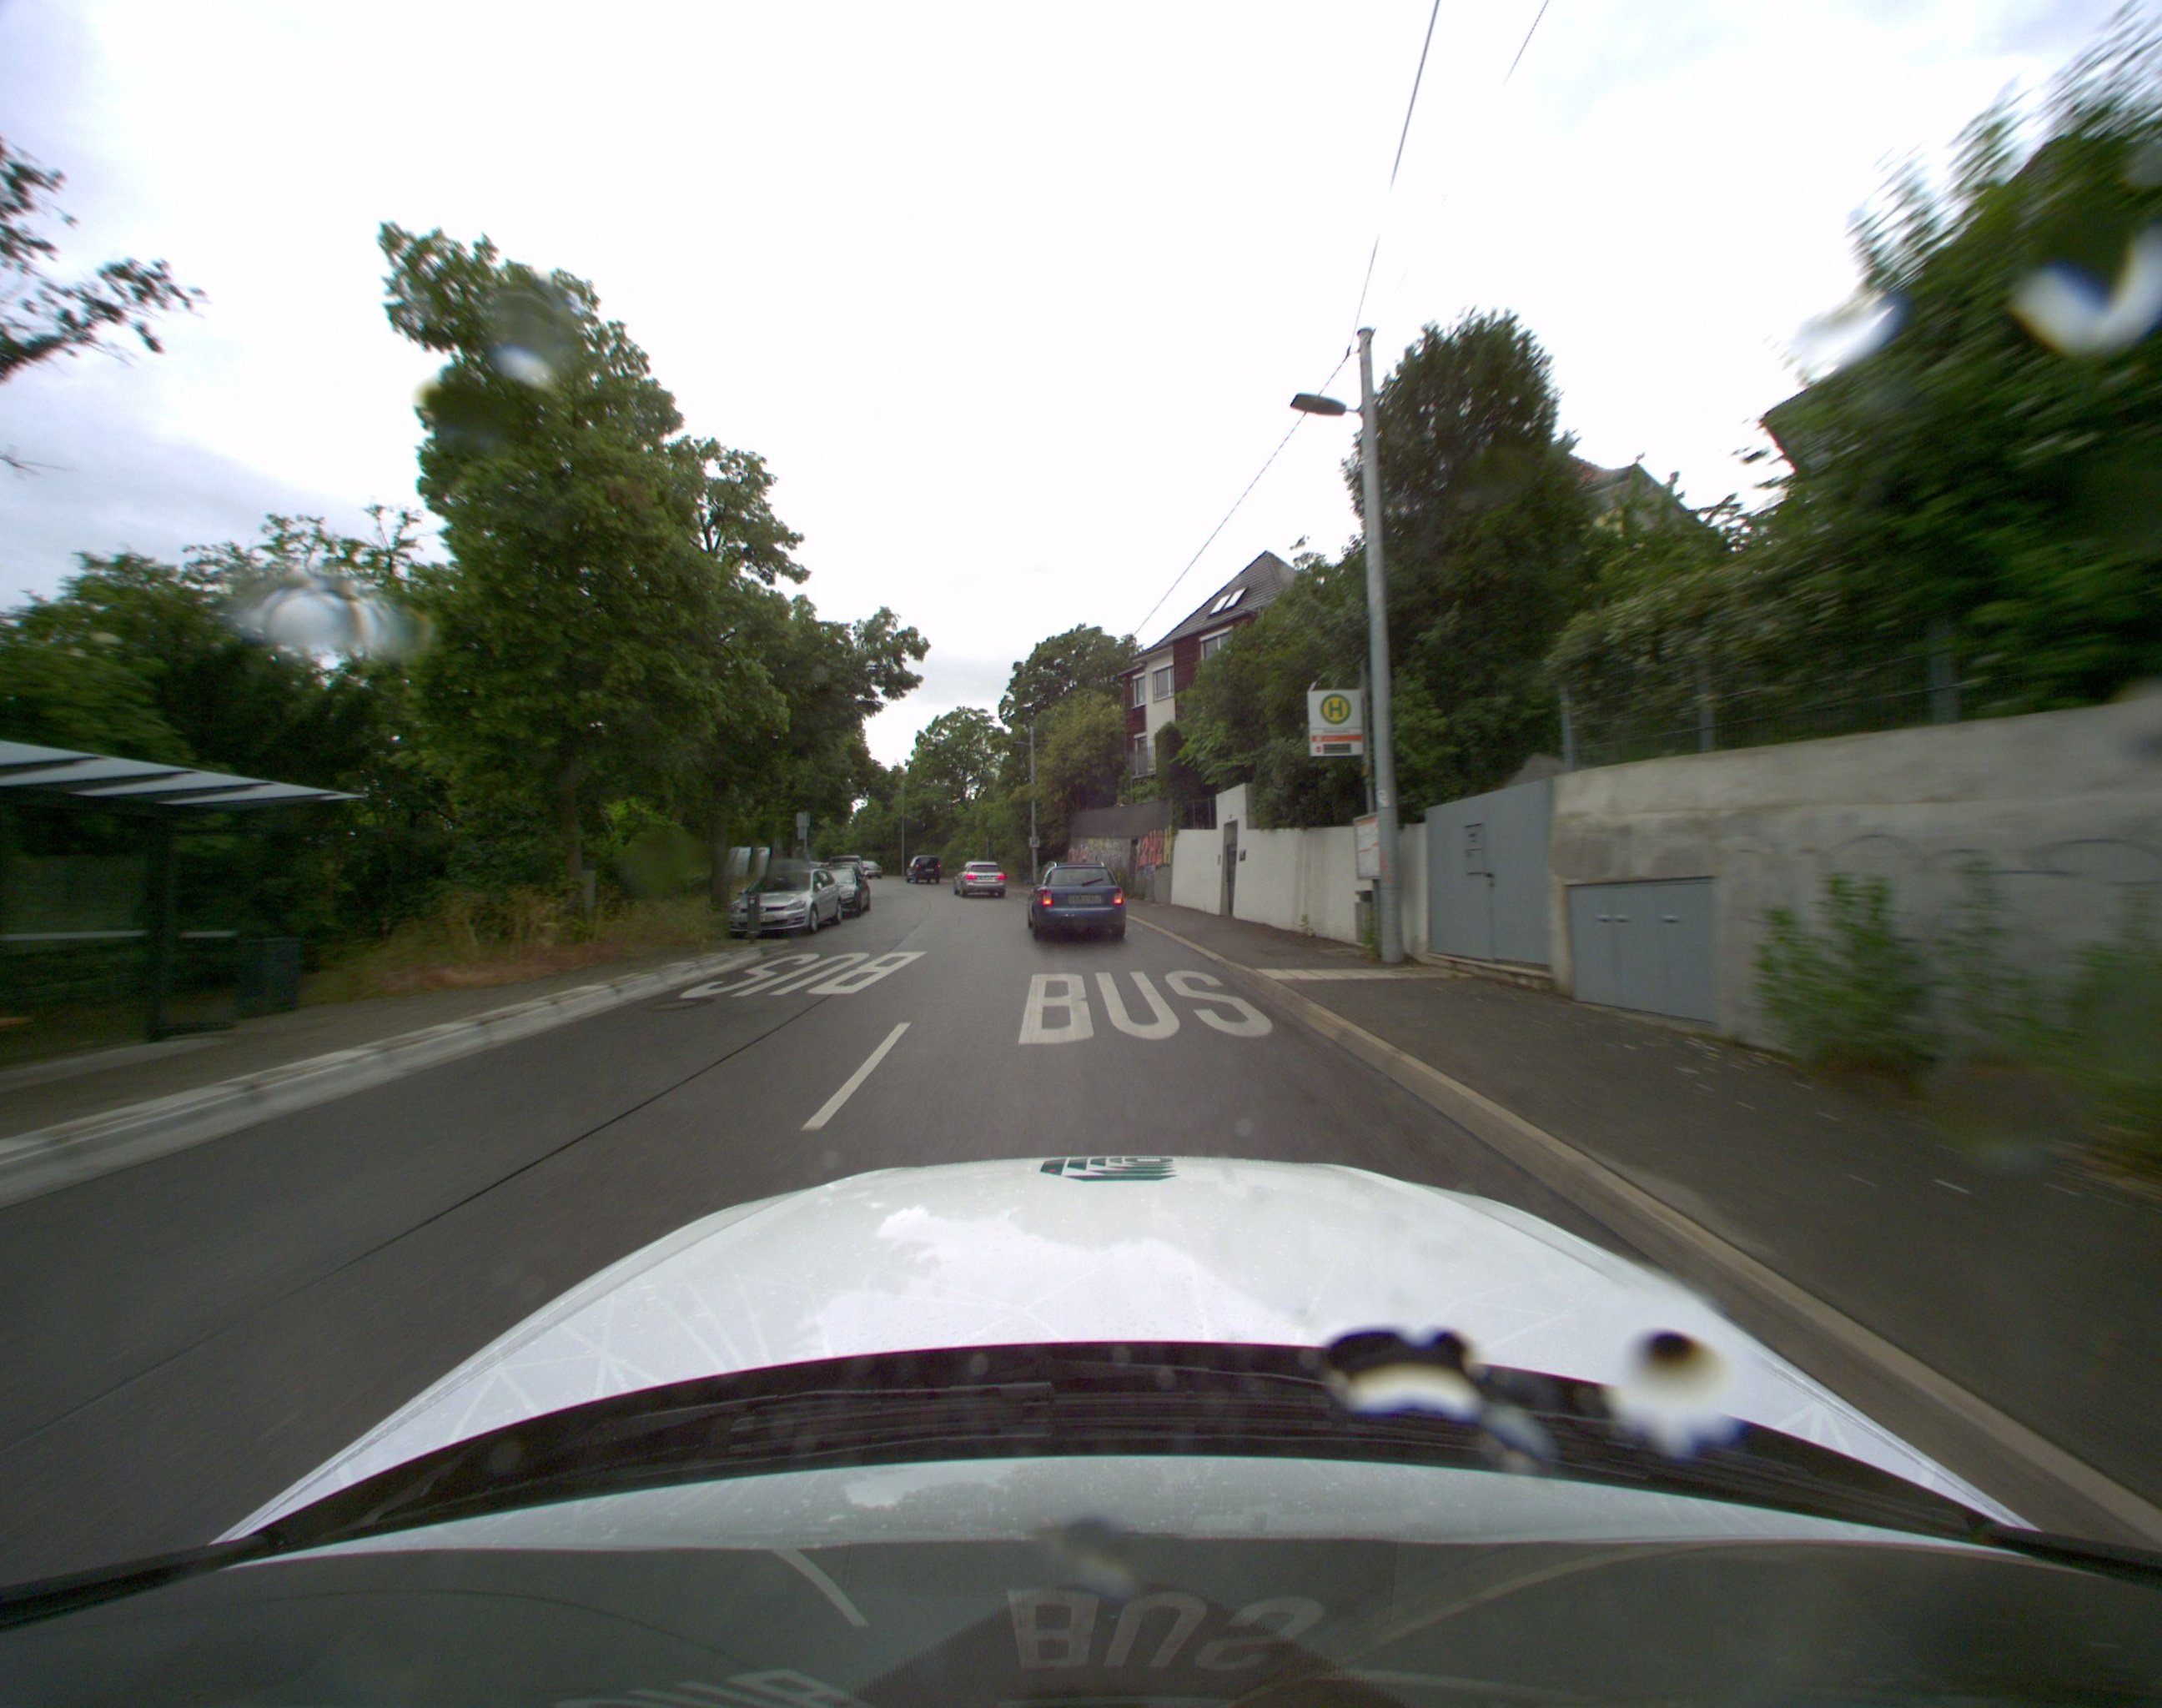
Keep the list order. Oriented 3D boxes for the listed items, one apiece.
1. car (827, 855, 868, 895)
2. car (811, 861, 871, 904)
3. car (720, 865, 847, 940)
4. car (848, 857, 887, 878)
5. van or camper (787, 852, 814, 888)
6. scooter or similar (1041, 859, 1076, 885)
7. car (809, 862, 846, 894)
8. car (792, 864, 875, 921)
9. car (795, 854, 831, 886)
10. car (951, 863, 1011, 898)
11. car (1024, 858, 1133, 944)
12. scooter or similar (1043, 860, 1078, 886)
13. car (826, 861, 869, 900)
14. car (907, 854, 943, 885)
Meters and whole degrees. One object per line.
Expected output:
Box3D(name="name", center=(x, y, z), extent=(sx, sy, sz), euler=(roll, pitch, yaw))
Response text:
Box3D(name="car", center=(-11.838, 1.032, 41.269), extent=(1.841, 1.843, 3.880), euler=(-3, 0, -16))
Box3D(name="car", center=(-9.056, 1.043, 31.029), extent=(1.674, 1.426, 3.986), euler=(-3, 0, -10))
Box3D(name="car", center=(-6.763, 1.041, 18.967), extent=(1.671, 1.426, 3.994), euler=(-3, 0, -4))
Box3D(name="car", center=(-17.275, 1.093, 65.887), extent=(1.779, 1.570, 3.987), euler=(-3, 0, -34))
Box3D(name="van or camper", center=(-22.488, 1.286, 65.114), extent=(1.786, 2.651, 3.961), euler=(-3, 0, -21))
Box3D(name="scooter or similar", center=(-1.231, 0.990, 43.944), extent=(1.831, 1.315, 0.599), euler=(3, -4, -5))
Box3D(name="car", center=(-15.578, 1.454, 49.936), extent=(2.000, 1.728, 3.974), euler=(-4, 0, -19))
Box3D(name="car", center=(-7.228, 1.059, 24.108), extent=(1.673, 1.426, 3.988), euler=(-3, 0, -8))
Box3D(name="car", center=(-18.413, 1.118, 55.827), extent=(2.002, 2.013, 3.971), euler=(-3, 0, -22))
Box3D(name="car", center=(-4.285, 1.072, 34.340), extent=(1.912, 1.388, 4.327), euler=(1, -1, -15))
Box3D(name="car", center=(-0.178, 0.857, 16.460), extent=(1.775, 1.439, 3.992), euler=(-2, -1, -6))
Box3D(name="scooter or similar", center=(-1.117, 1.032, 44.679), extent=(1.831, 1.315, 0.599), euler=(3, -4, -5))
Box3D(name="car", center=(-10.478, 1.160, 36.677), extent=(1.677, 1.551, 3.882), euler=(-3, 0, -15))
Box3D(name="car", center=(-10.485, 1.042, 54.564), extent=(1.736, 1.894, 4.028), euler=(-3, 0, -19))
